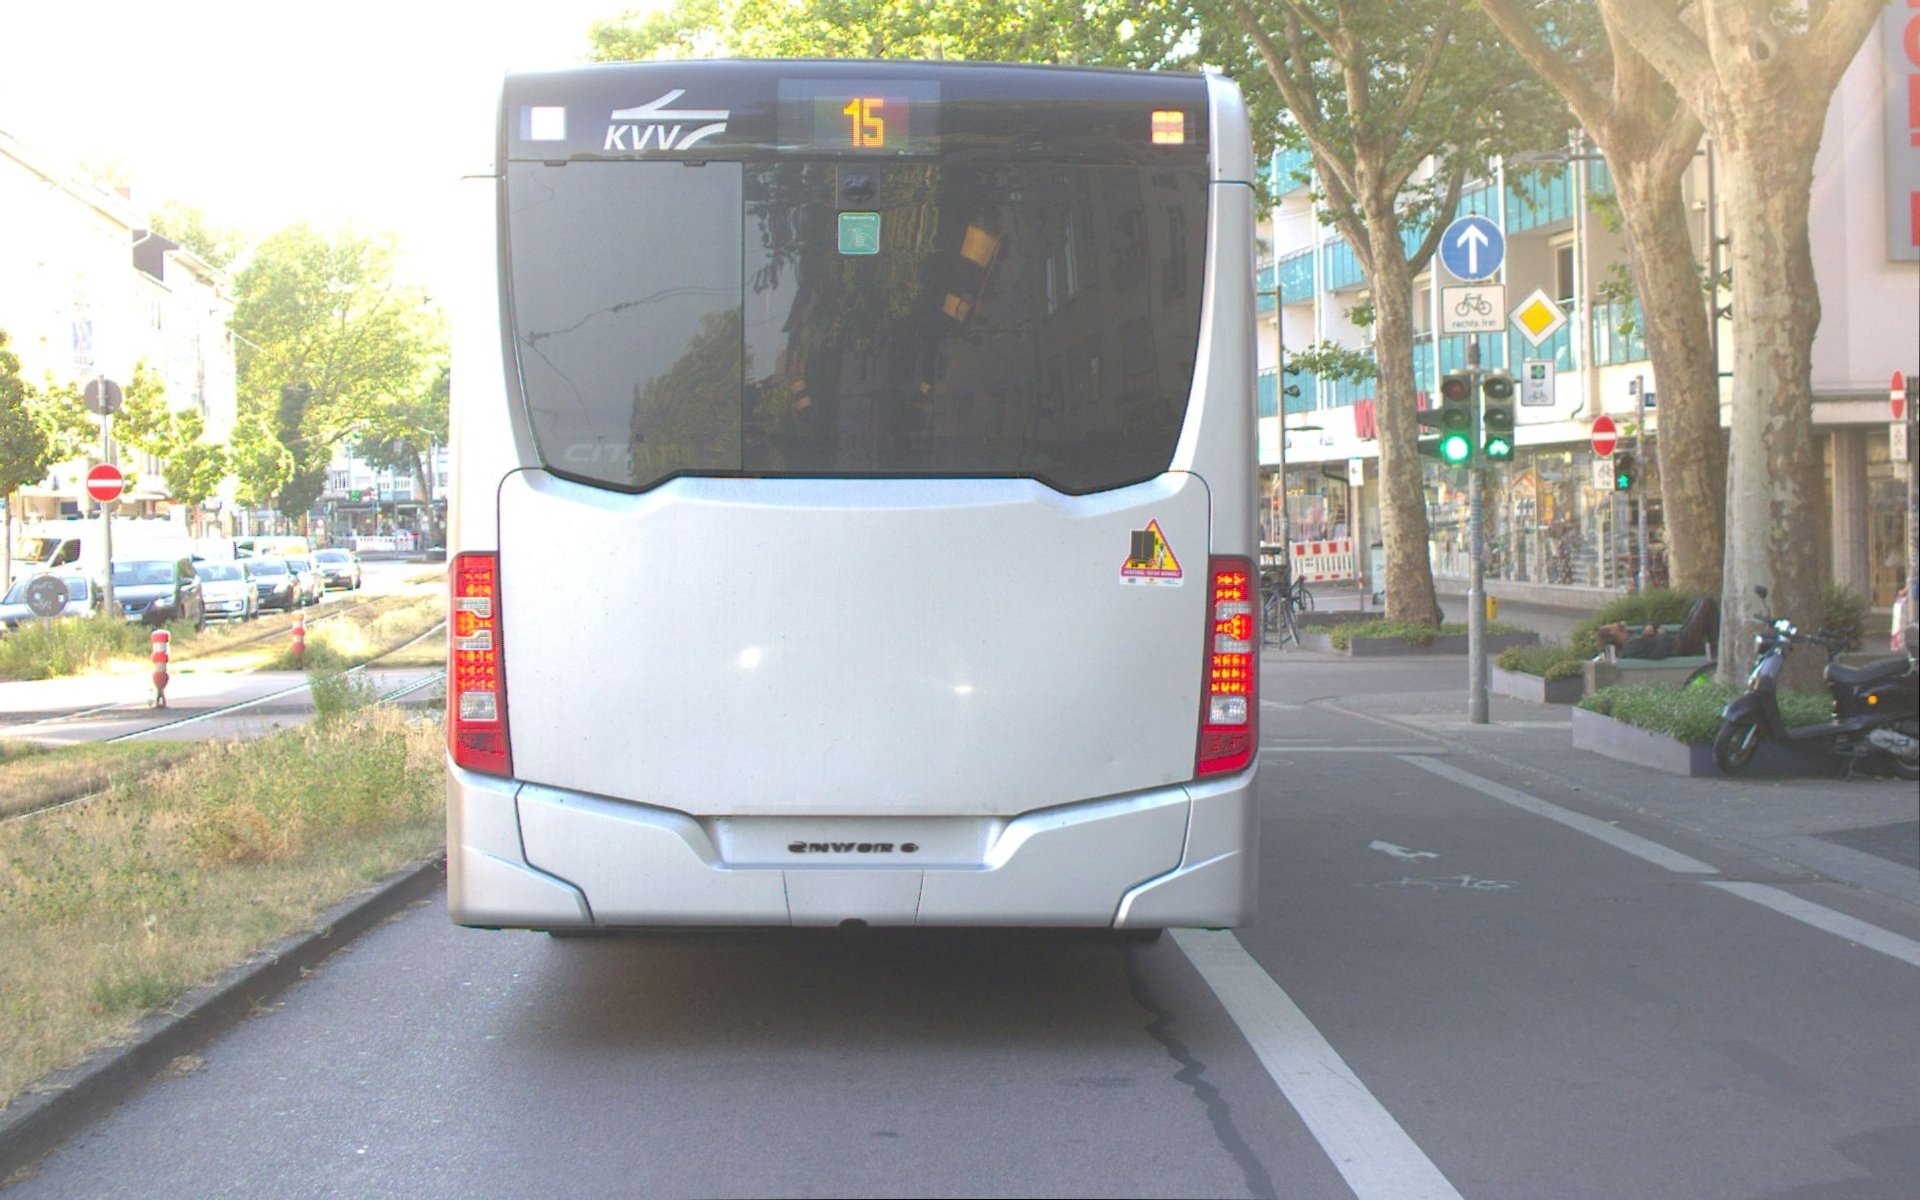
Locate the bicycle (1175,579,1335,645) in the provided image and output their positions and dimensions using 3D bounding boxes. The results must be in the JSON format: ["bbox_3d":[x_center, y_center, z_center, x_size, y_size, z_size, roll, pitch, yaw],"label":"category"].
[{"bbox_3d":[4.521,0.176,52.797,2.309,0.936,0.837,-1,2,-8],"label":"bicycle"}]

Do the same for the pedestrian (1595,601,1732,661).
[{"bbox_3d":[6.988,0.306,34.159,1.254,0.587,0.482,0,1,-2],"label":"pedestrian"}]

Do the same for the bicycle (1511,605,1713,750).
[{"bbox_3d":[5.302,0.625,27.996,1.509,1.101,0.460,2,1,0],"label":"bicycle"}]

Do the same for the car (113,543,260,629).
[{"bbox_3d":[-15.296,-0.304,68.174,1.780,1.609,4.508,-1,1,1],"label":"car"}]

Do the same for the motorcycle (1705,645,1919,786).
[{"bbox_3d":[5.892,0.774,23.219,1.570,0.889,0.544,-1,1,-3],"label":"motorcycle"}]

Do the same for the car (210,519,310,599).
[{"bbox_3d":[-18.268,-1.082,89.886,1.993,2.007,4.001,-1,1,-3],"label":"car"}]

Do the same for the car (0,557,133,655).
[{"bbox_3d":[-15.434,0.090,58.134,1.780,1.445,4.044,-3,2,1],"label":"car"}]

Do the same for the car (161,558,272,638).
[{"bbox_3d":[-17.322,-0.073,80.263,1.897,1.798,4.001,-1,1,-3],"label":"car"}]

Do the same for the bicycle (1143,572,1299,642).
[{"bbox_3d":[4.094,0.102,53.990,2.309,1.025,0.837,-1,2,-8],"label":"bicycle"}]

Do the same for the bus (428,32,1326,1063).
[{"bbox_3d":[-0.233,-0.224,13.822,2.678,3.073,7.114,0,1,0],"label":"bus"}]

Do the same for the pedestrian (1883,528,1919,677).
[{"bbox_3d":[11.671,0.018,41.561,0.780,1.788,0.764,-1,1,0],"label":"pedestrian"}]
